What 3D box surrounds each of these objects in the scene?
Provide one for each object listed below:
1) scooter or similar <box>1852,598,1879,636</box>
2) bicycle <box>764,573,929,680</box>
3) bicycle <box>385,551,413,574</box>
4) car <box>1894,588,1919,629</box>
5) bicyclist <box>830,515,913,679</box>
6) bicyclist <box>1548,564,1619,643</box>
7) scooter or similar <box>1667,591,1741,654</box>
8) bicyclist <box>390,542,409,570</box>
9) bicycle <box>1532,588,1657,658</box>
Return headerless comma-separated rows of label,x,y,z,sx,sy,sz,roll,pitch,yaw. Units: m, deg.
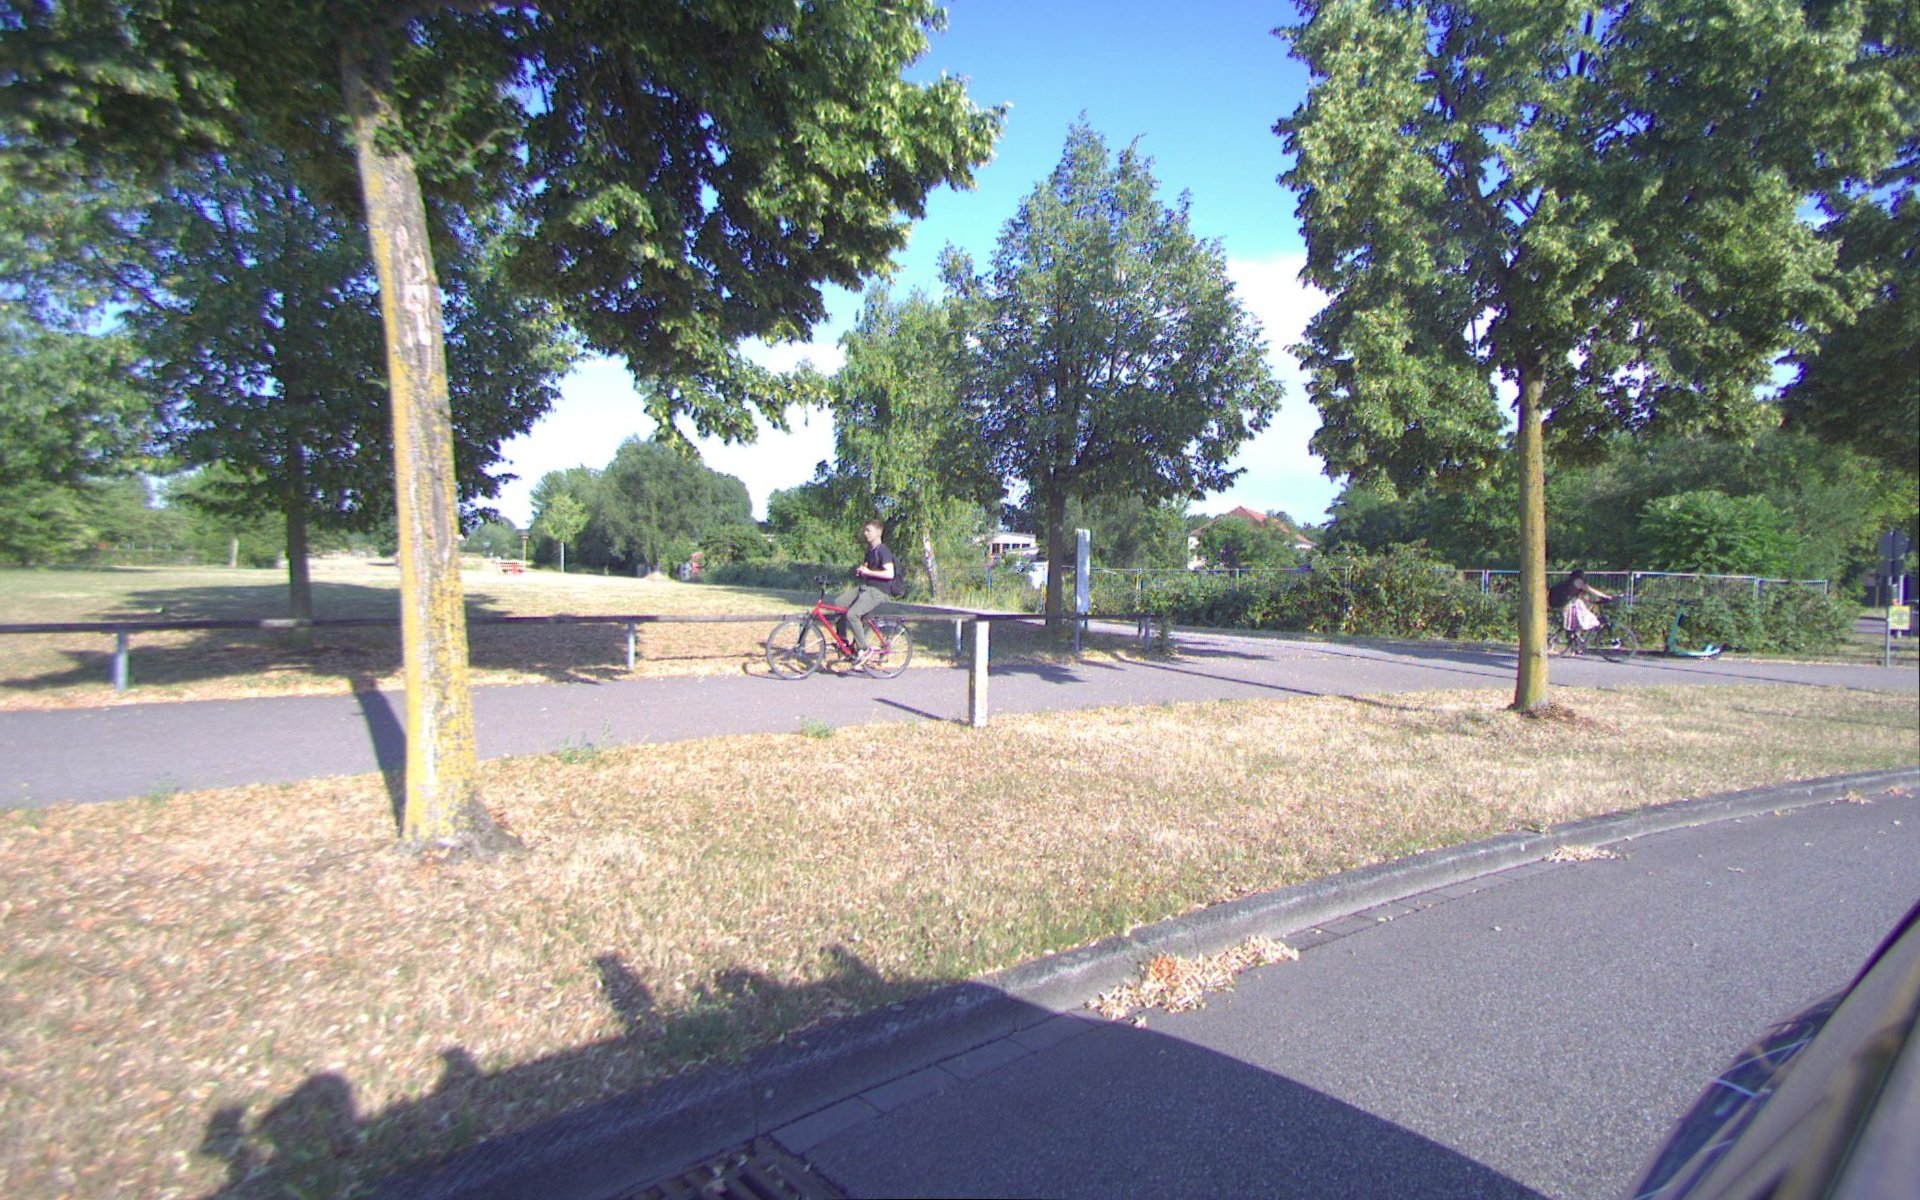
scooter or similar,28.564,0.523,31.931,0.247,1.140,1.086,5,3,24
bicycle,-1.334,0.311,11.853,1.851,1.172,0.417,2,2,-12
bicycle,-36.736,-2.443,66.254,1.918,1.468,0.390,0,1,18
car,38.526,0.370,39.550,1.565,1.581,3.606,2,2,19
bicyclist,-1.054,-0.043,11.947,0.813,1.852,0.622,2,2,-14
bicyclist,11.348,0.050,18.445,0.968,1.379,0.555,2,2,20
scooter or similar,14.436,0.438,19.643,1.148,1.174,0.343,2,1,-2
bicyclist,-36.701,-2.869,66.233,0.916,1.802,0.634,0,1,18
bicycle,11.463,0.392,18.326,1.806,1.170,0.488,2,2,20
